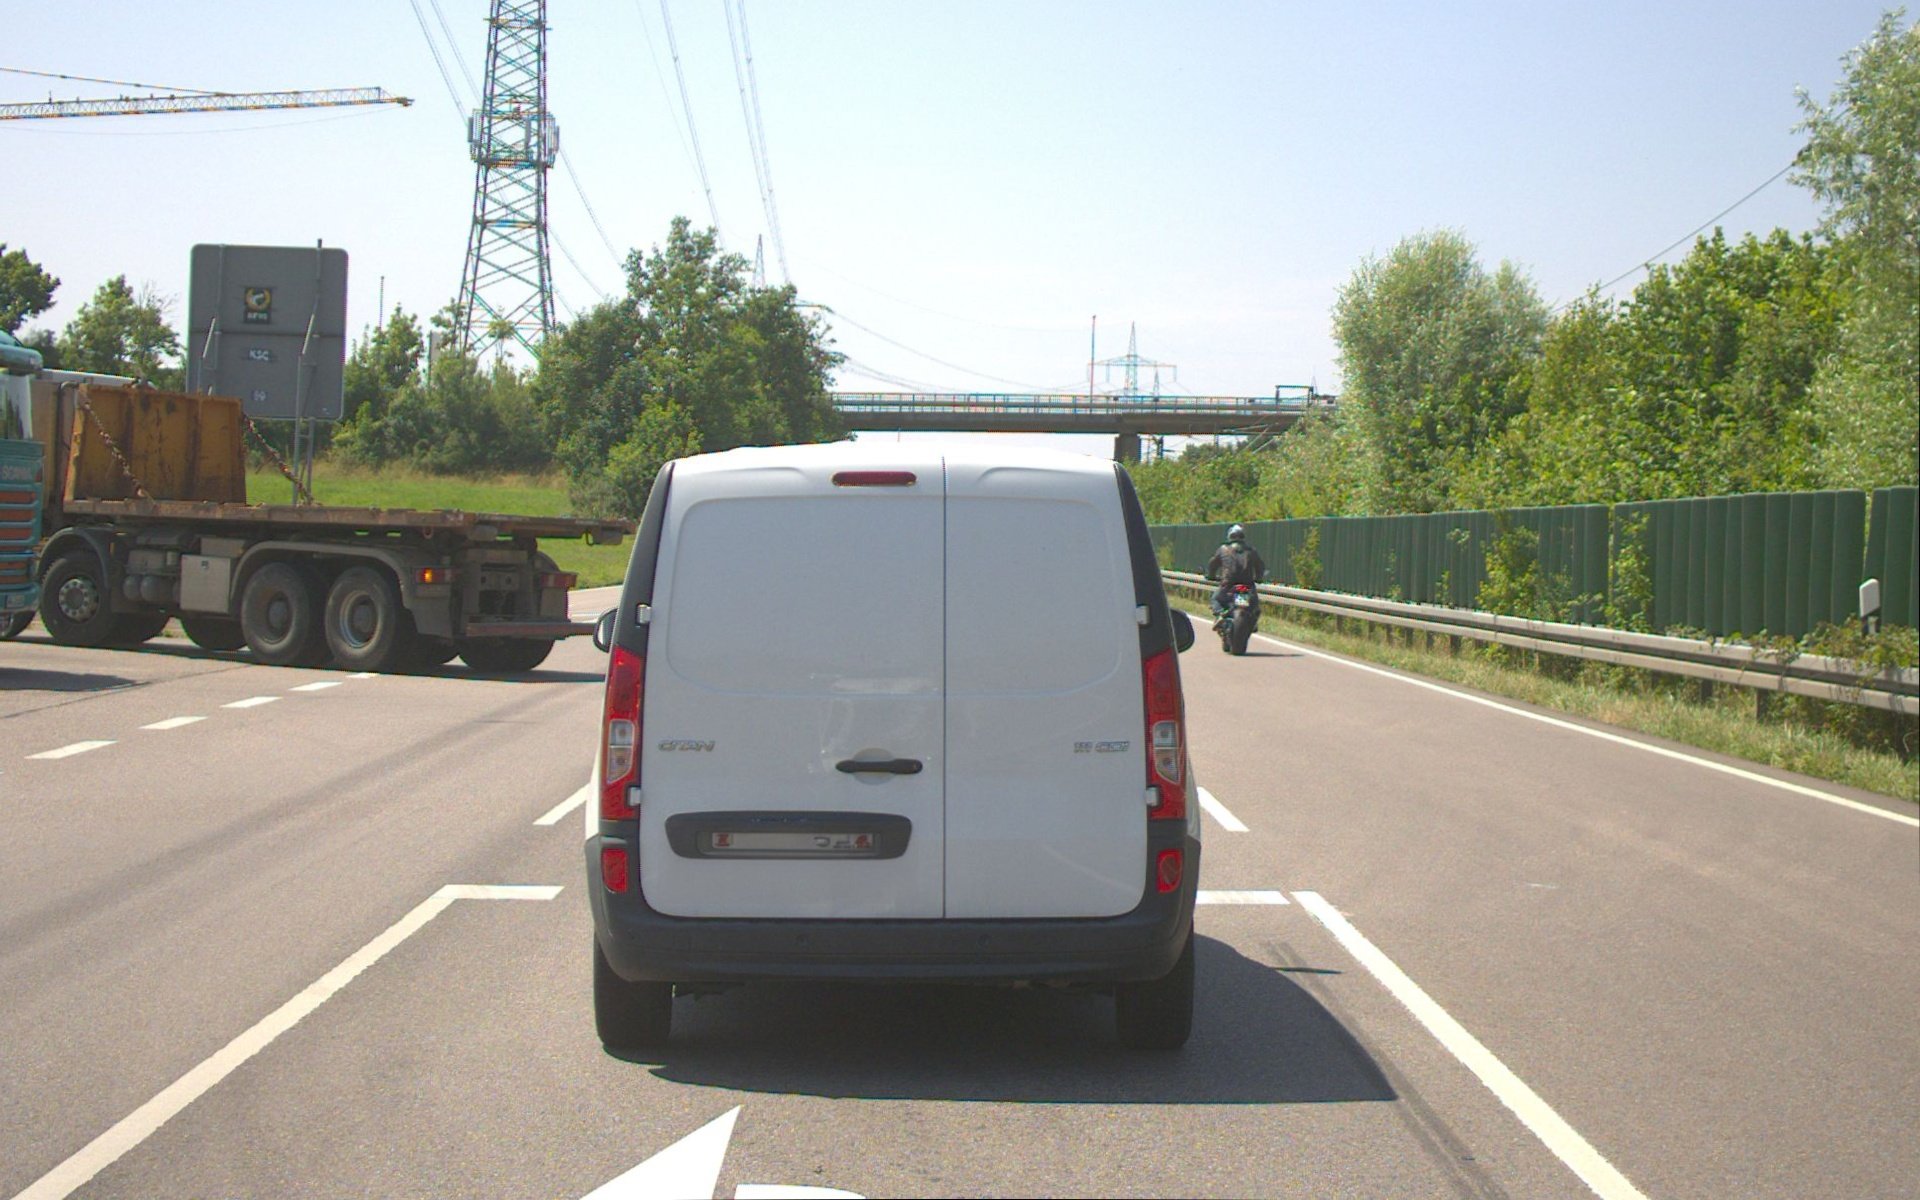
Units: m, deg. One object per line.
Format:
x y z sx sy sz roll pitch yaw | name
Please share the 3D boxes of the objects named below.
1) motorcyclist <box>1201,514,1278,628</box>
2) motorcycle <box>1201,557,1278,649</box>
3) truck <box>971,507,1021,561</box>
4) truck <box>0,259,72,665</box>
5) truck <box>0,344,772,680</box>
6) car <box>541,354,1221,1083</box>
3.691 -0.388 45.490 0.889 1.471 1.002 1 1 -1 | motorcyclist
3.696 0.031 45.557 0.790 1.153 1.901 1 1 -1 | motorcycle
1.840 -3.452 179.707 2.374 2.680 8.010 2 1 -1 | truck
-12.729 -1.492 32.358 7.905 3.721 2.498 3 1 2 | truck
-6.662 -1.052 37.628 9.691 3.277 2.823 3 2 38 | truck
-0.234 0.283 11.341 1.827 1.964 4.000 1 1 -1 | car
